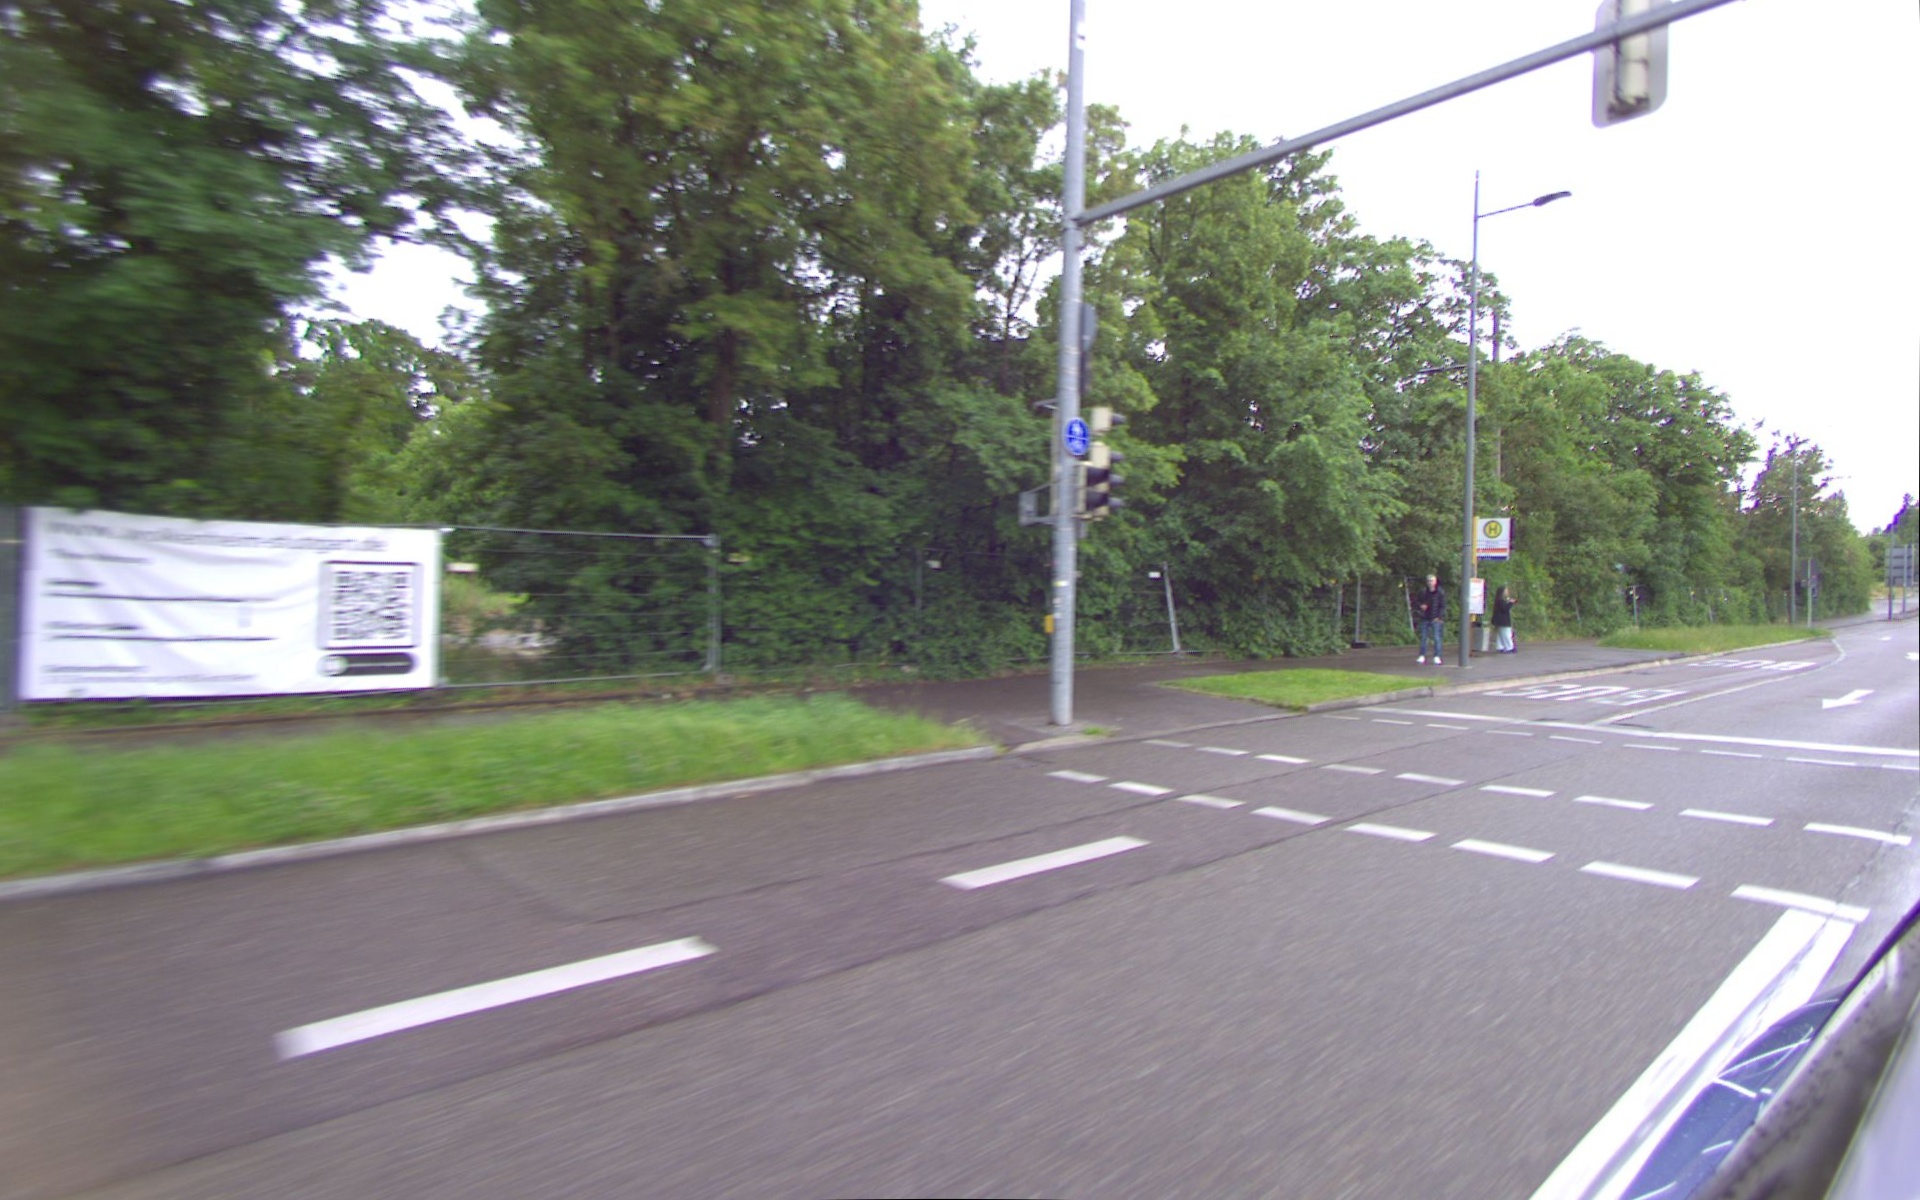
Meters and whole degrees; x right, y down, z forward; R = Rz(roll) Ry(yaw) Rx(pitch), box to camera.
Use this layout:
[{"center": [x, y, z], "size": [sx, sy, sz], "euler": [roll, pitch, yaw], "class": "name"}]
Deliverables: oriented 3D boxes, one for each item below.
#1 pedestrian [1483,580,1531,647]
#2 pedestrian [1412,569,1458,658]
[{"center": [14.090, 0.331, 26.068], "size": [0.817, 1.697, 0.821], "euler": [0, 1, -41], "class": "pedestrian"}, {"center": [10.348, 0.278, 22.048], "size": [0.687, 1.907, 0.677], "euler": [0, 1, -41], "class": "pedestrian"}]
